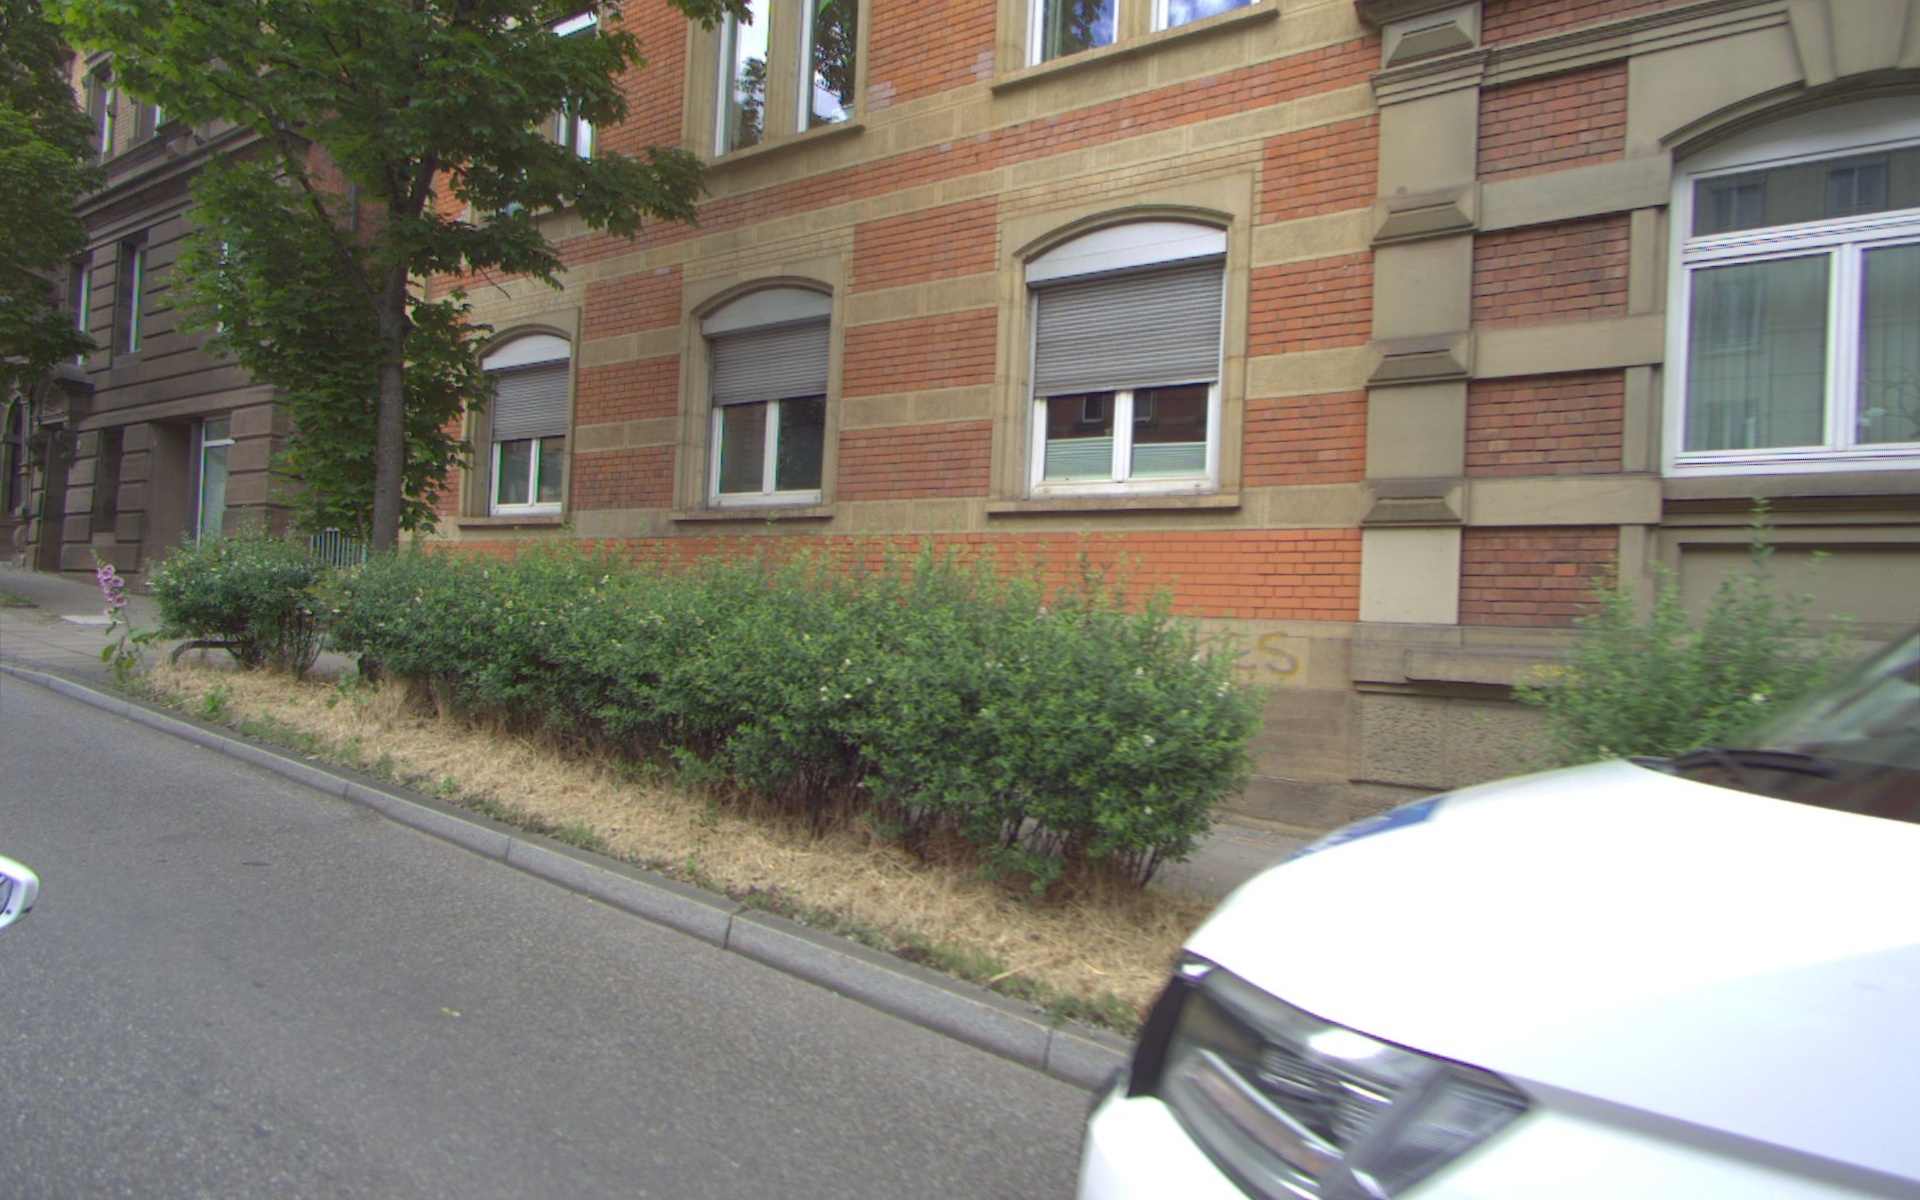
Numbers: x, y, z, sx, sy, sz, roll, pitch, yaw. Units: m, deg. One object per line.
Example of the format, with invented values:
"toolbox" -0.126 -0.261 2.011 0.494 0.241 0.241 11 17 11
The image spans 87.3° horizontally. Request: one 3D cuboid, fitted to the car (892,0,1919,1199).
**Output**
"car" 3.029 0.686 0.695 5.867 2.315 2.261 7 -1 31
